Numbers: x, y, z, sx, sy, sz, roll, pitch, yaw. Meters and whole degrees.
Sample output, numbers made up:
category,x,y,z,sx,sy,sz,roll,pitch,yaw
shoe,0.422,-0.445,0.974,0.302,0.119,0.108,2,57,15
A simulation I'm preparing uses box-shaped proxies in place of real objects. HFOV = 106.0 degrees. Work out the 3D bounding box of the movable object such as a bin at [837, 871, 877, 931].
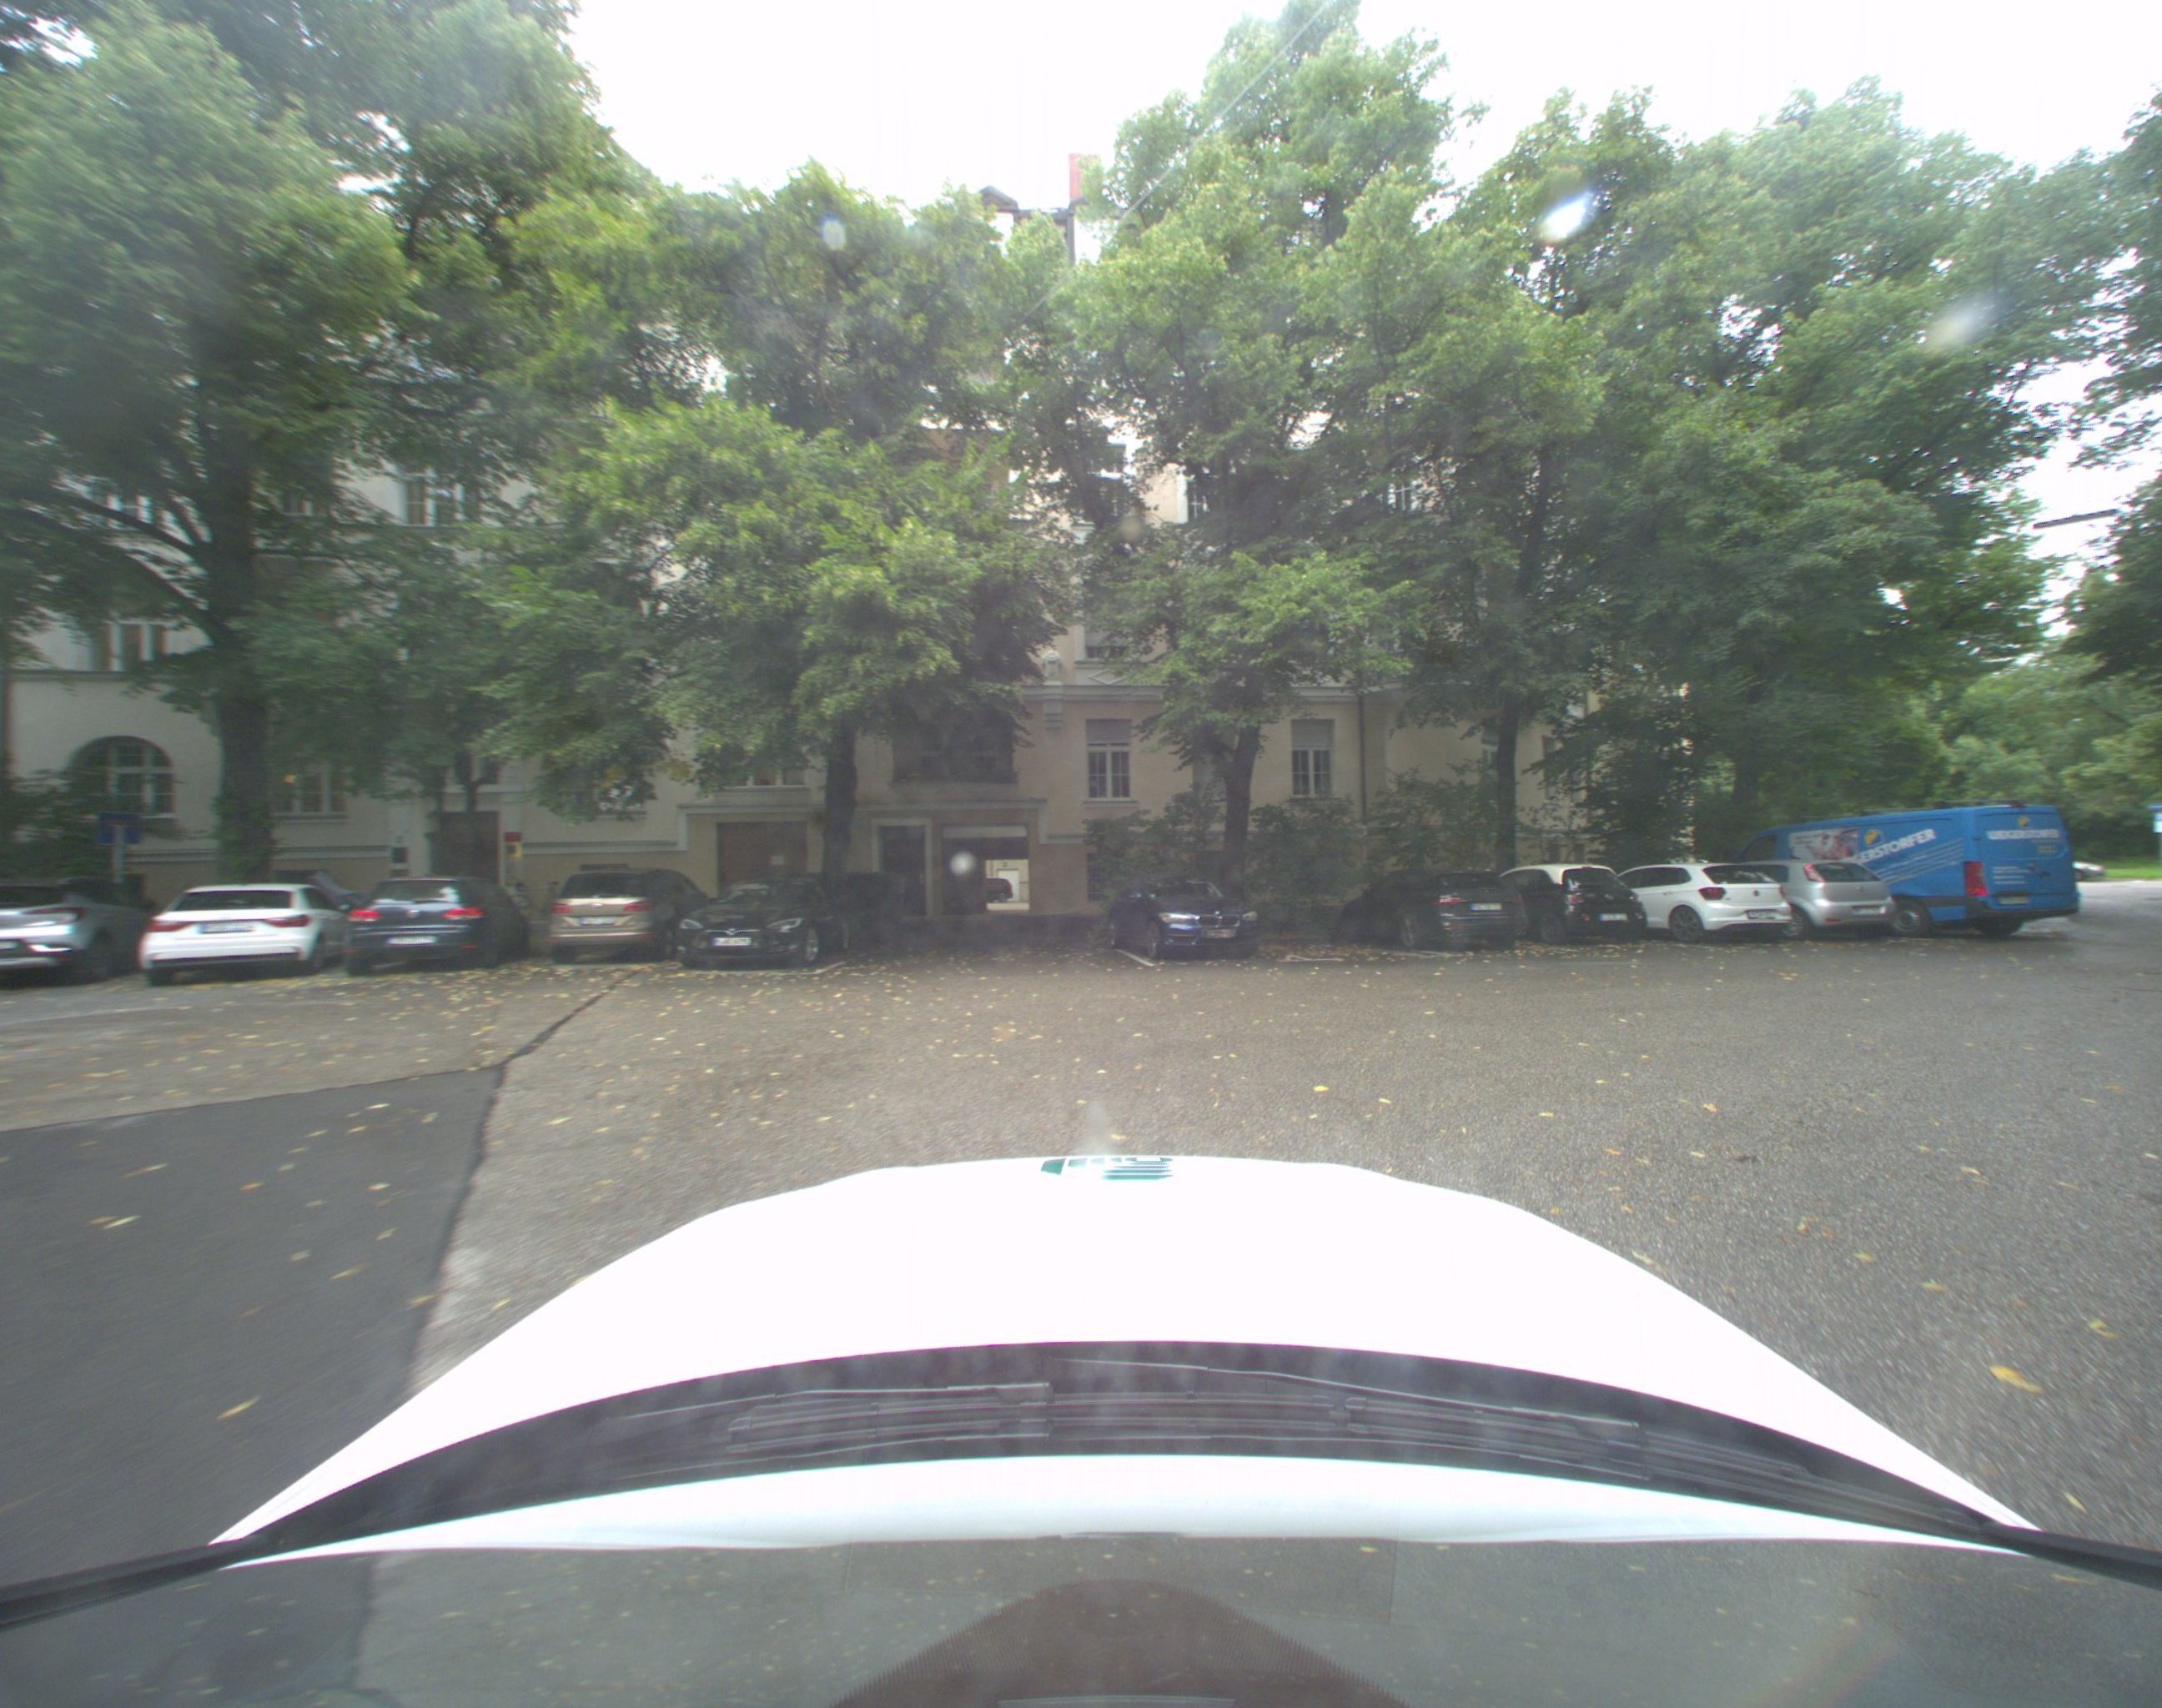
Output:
category,x,y,z,sx,sy,sz,roll,pitch,yaw
movable object such as a bin,-5.298,1.079,19.296,0.712,1.348,1.370,-1,-1,-7

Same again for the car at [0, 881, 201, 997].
category,x,y,z,sx,sy,sz,roll,pitch,yaw
car,-15.746,1.211,12.641,1.882,1.510,3.959,0,-1,-33

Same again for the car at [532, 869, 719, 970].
category,x,y,z,sx,sy,sz,roll,pitch,yaw
car,-7.936,1.040,14.632,1.840,1.530,4.007,-1,-1,-12

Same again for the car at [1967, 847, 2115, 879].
category,x,y,z,sx,sy,sz,roll,pitch,yaw
car,48.948,0.465,41.637,1.850,1.496,4.765,0,-1,-35

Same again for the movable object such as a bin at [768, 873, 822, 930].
category,x,y,z,sx,sy,sz,roll,pitch,yaw
movable object such as a bin,-7.051,1.144,20.099,1.117,1.348,0.861,0,0,-10

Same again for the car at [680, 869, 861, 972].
category,x,y,z,sx,sy,sz,roll,pitch,yaw
car,-5.015,1.061,13.820,1.701,1.467,4.280,0,-3,-5

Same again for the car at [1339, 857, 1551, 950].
category,x,y,z,sx,sy,sz,roll,pitch,yaw
car,6.470,0.906,15.070,1.854,1.426,4.157,-1,-3,-3

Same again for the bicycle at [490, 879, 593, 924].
category,x,y,z,sx,sy,sz,roll,pitch,yaw
bicycle,-14.191,1.247,21.478,2.226,1.115,0.575,0,-1,-7

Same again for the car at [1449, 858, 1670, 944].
category,x,y,z,sx,sy,sz,roll,pitch,yaw
car,9.044,0.952,15.815,1.824,1.426,3.741,-1,-5,-5

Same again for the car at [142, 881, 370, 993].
category,x,y,z,sx,sy,sz,roll,pitch,yaw
car,-12.955,1.188,13.087,1.730,1.431,3.959,0,-1,-33

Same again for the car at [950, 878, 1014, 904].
category,x,y,z,sx,sy,sz,roll,pitch,yaw
car,-6.251,2.305,51.304,3.848,1.518,1.649,0,-1,-13

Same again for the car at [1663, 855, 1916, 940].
category,x,y,z,sx,sy,sz,roll,pitch,yaw
car,13.476,0.811,15.799,1.636,1.433,3.547,-1,-2,-5

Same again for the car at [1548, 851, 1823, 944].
category,x,y,z,sx,sy,sz,roll,pitch,yaw
car,11.394,0.899,15.816,1.795,1.514,4.274,-1,-5,-6

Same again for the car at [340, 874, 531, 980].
category,x,y,z,sx,sy,sz,roll,pitch,yaw
car,-10.509,1.074,13.591,1.802,1.431,3.963,0,-1,-28

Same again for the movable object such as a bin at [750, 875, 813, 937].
category,x,y,z,sx,sy,sz,roll,pitch,yaw
movable object such as a bin,-6.899,1.168,18.840,1.149,1.348,1.153,0,0,-9

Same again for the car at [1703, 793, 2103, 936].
category,x,y,z,sx,sy,sz,roll,pitch,yaw
car,15.757,0.305,16.266,2.056,2.355,5.484,-1,-3,-5

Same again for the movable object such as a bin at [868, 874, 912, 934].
category,x,y,z,sx,sy,sz,roll,pitch,yaw
movable object such as a bin,-4.436,1.142,19.010,0.862,1.305,1.427,1,-1,-9

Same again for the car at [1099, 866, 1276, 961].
category,x,y,z,sx,sy,sz,roll,pitch,yaw
car,1.687,0.964,14.535,1.839,1.383,4.325,-1,-2,-11
